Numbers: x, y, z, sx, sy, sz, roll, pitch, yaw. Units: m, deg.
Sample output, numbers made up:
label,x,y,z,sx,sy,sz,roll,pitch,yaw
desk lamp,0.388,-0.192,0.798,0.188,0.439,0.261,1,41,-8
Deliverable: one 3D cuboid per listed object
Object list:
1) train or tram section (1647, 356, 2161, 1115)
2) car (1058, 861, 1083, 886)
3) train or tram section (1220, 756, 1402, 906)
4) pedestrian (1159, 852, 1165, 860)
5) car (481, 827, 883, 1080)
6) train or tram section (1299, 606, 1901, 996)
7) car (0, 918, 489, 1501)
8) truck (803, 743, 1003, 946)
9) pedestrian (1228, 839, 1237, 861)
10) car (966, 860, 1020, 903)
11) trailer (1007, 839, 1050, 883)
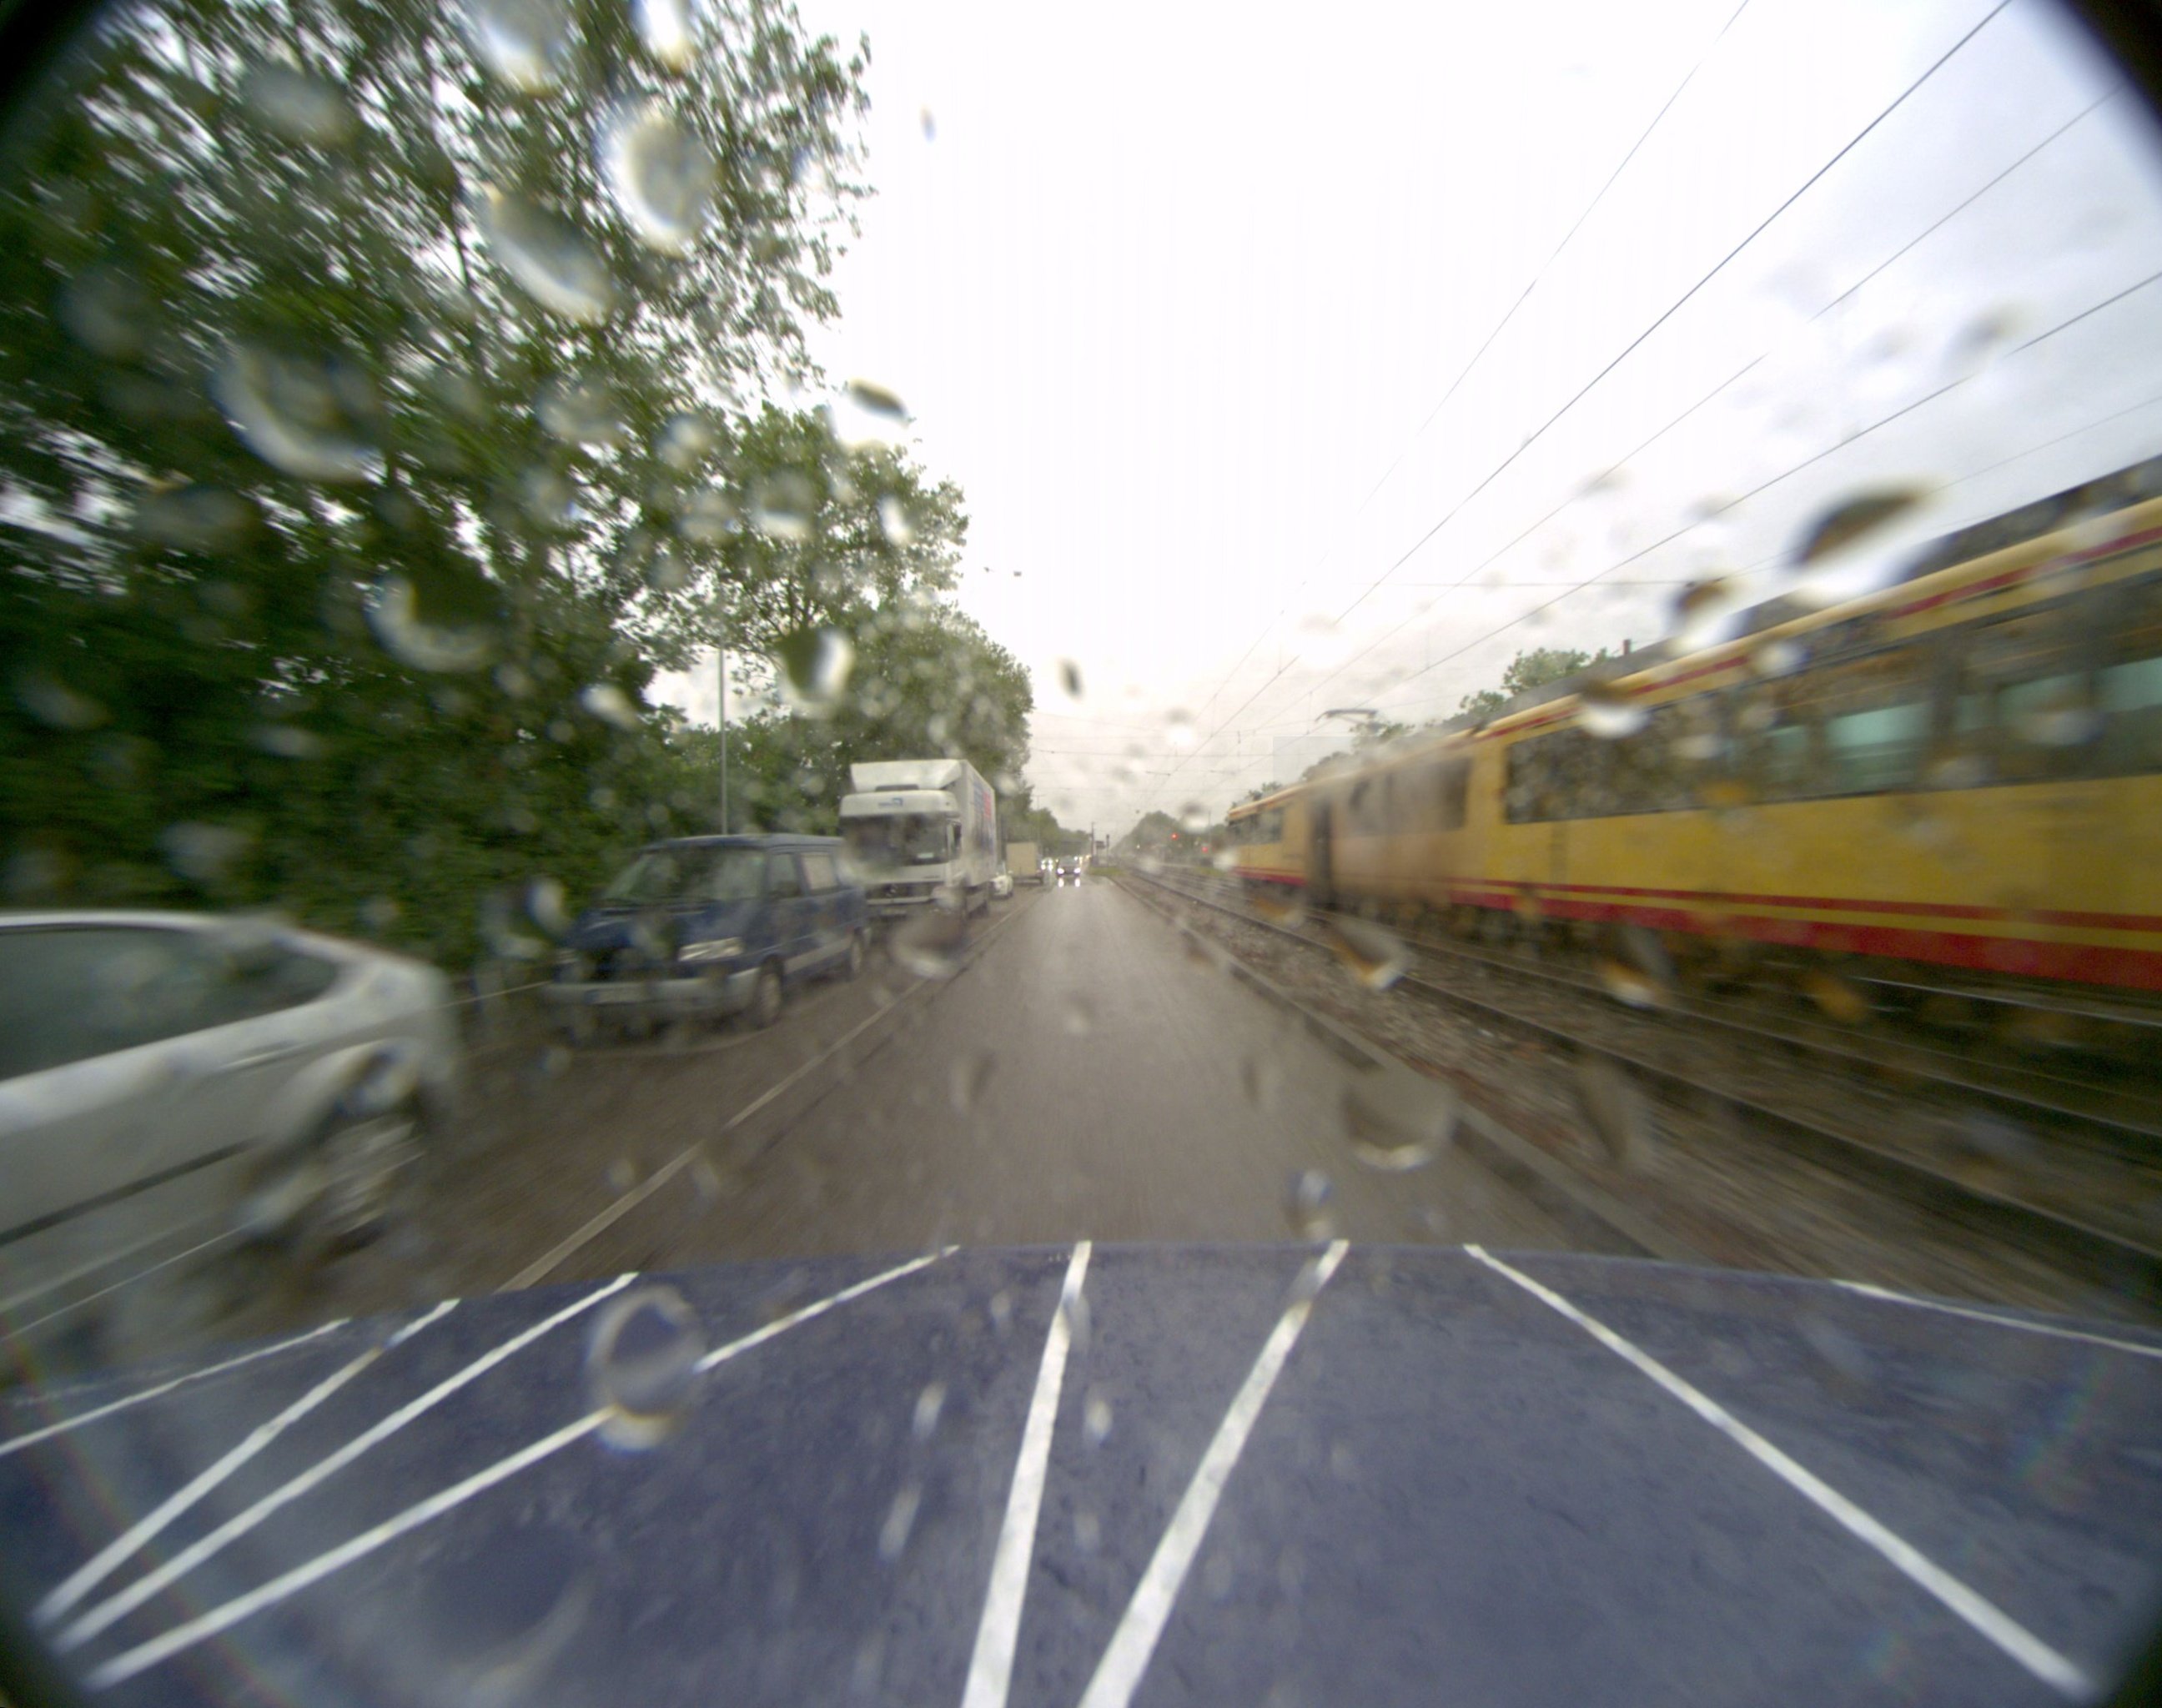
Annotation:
label,x,y,z,sx,sy,sz,roll,pitch,yaw
train or tram section,7.276,-0.642,2.843,2.818,4.126,10.268,-1,1,1
car,-0.908,1.700,67.218,1.998,2.002,4.000,-1,0,2
train or tram section,7.625,-0.669,27.741,2.813,4.125,13.019,-1,0,1
pedestrian,13.444,0.337,125.609,0.833,1.309,0.858,-2,1,1
car,-3.916,0.818,8.717,1.881,2.002,4.980,-2,0,0
train or tram section,7.456,-0.611,14.675,2.813,4.126,13.018,-1,1,1
car,-3.924,1.103,1.631,1.817,1.451,4.345,-2,1,0
truck,-3.768,-0.241,18.921,2.783,3.683,9.849,-1,1,-1
pedestrian,27.879,-0.655,139.968,1.169,4.006,1.522,-1,2,29
car,-3.675,1.116,32.498,1.718,1.520,4.000,-5,0,0
trailer,-3.436,0.386,51.287,2.171,2.741,5.677,-1,1,3
